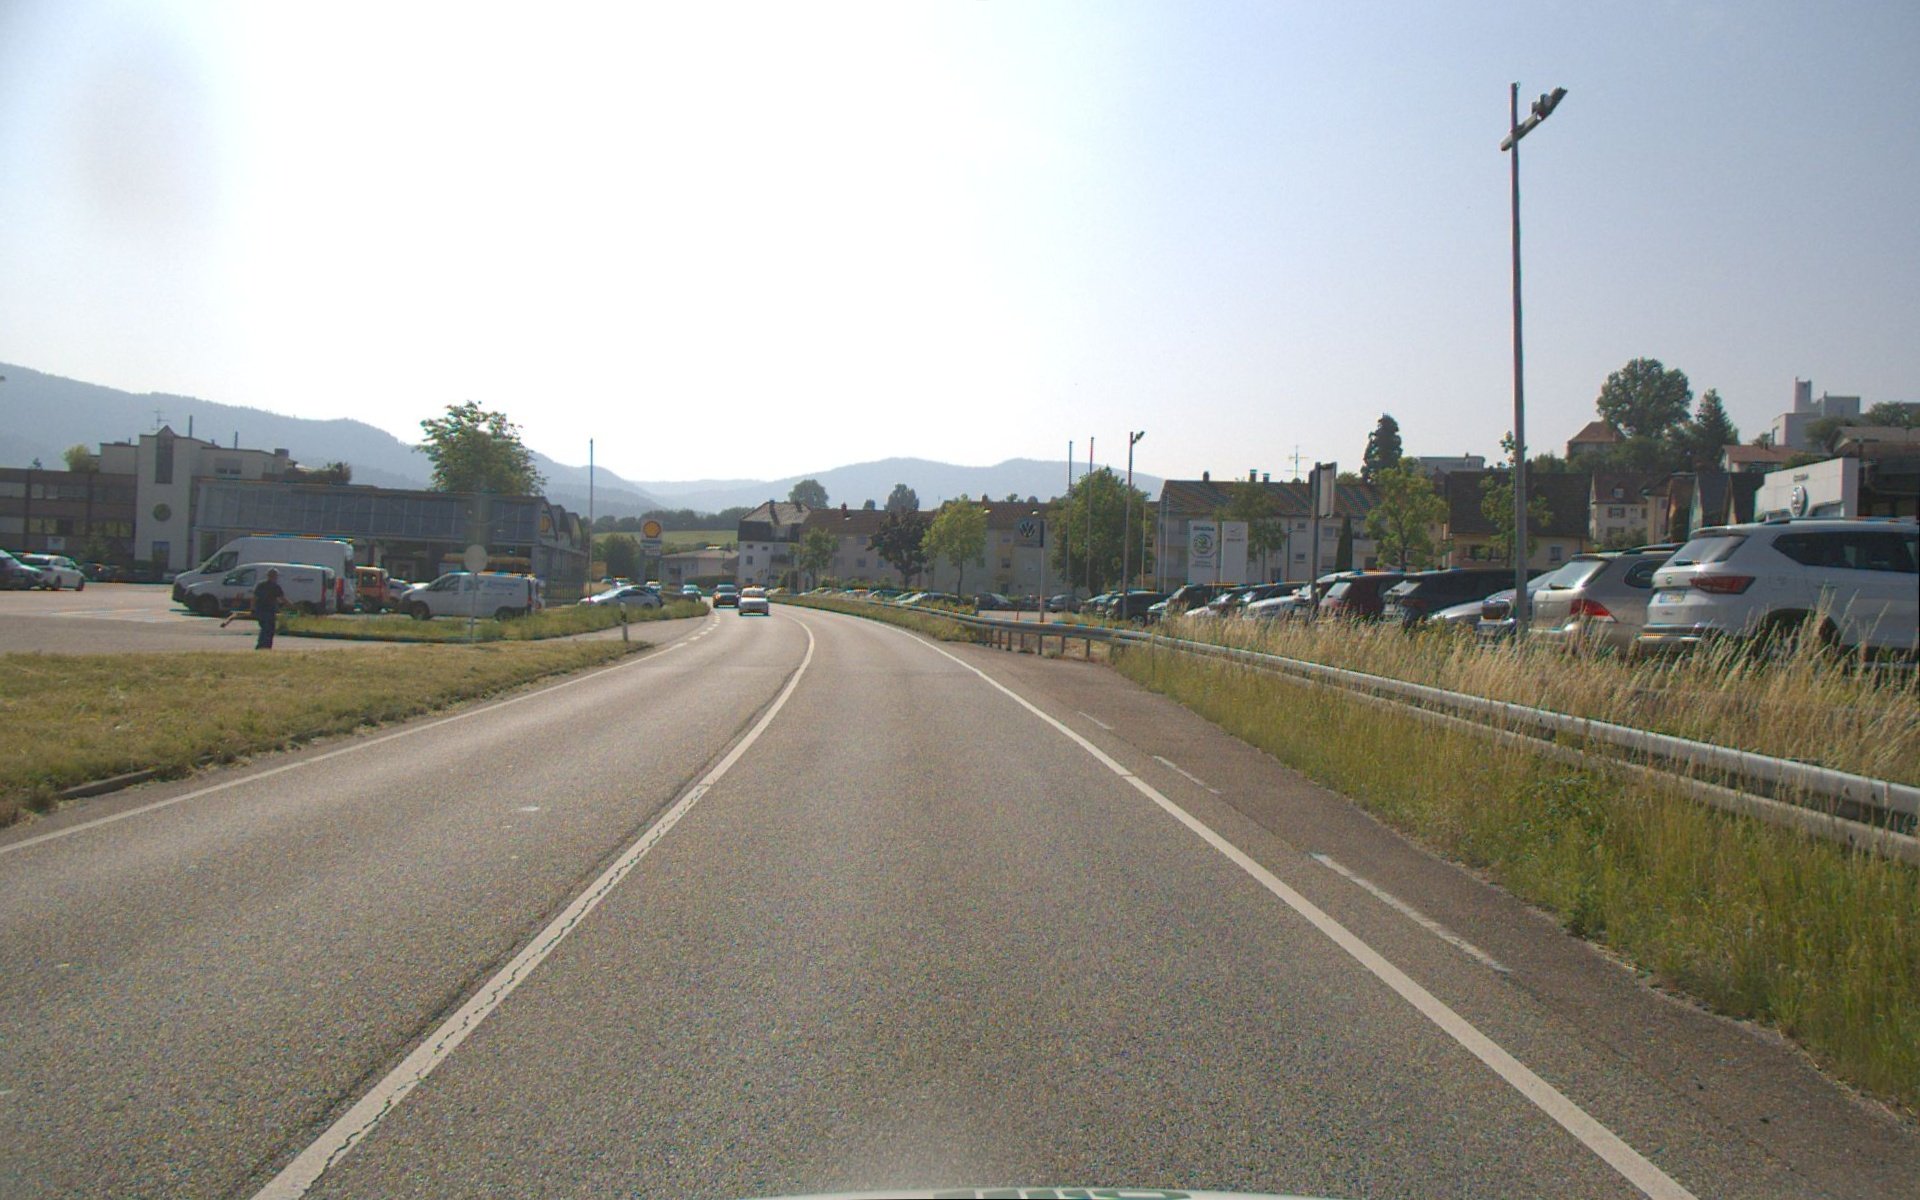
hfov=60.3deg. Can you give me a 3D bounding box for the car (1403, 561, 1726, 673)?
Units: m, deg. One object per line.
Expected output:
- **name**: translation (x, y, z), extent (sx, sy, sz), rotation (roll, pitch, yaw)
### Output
- **car**: translation (8.609, 0.236, 23.780), extent (3.908, 1.477, 1.949), rotation (1, 0, -3)

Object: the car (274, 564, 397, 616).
- **car**: translation (-25.566, -0.404, 67.831), extent (4.300, 1.839, 1.997), rotation (4, 0, -9)

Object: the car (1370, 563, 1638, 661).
- **car**: translation (8.602, 0.191, 26.354), extent (3.659, 1.453, 1.778), rotation (1, 0, -3)

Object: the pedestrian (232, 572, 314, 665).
- **pedestrian**: translation (-12.988, 0.349, 31.279), extent (0.834, 1.719, 1.139), rotation (1, -1, 38)

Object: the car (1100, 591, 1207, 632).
- **car**: translation (7.556, 0.456, 64.912), extent (3.908, 1.520, 1.729), rotation (1, 0, -4)

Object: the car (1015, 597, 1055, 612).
- **car**: translation (6.598, 0.392, 145.835), extent (1.576, 1.207, 3.617), rotation (1, 0, -35)

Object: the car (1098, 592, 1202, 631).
- **car**: translation (7.760, 0.472, 67.691), extent (3.910, 1.520, 1.788), rotation (1, 0, -6)

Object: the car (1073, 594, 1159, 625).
- **car**: translation (8.033, 0.488, 85.341), extent (4.082, 1.542, 1.820), rotation (0, 0, -11)

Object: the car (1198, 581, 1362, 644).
- **car**: translation (7.988, 0.313, 41.478), extent (3.760, 1.484, 1.745), rotation (1, 0, -2)

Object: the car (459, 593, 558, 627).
- **car**: translation (-21.449, 0.488, 78.740), extent (1.864, 1.427, 4.206), rotation (1, -1, 41)

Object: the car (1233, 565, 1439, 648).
- **car**: translation (8.034, 0.138, 35.560), extent (3.909, 1.660, 1.919), rotation (1, 0, -5)

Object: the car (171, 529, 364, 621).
- **car**: translation (-23.912, -0.831, 57.306), extent (5.612, 2.792, 2.282), rotation (3, -1, -7)

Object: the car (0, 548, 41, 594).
- **car**: translation (-41.466, -1.282, 69.199), extent (4.723, 1.886, 2.208), rotation (2, 1, -7)

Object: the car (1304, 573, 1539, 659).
- **car**: translation (8.173, 0.278, 29.497), extent (3.656, 1.431, 1.822), rotation (1, 0, -3)

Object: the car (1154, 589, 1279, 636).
- **car**: translation (8.505, 0.413, 55.061), extent (3.952, 1.512, 1.723), rotation (0, 0, 1)

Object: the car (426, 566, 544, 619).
- **car**: translation (-21.133, -0.341, 73.768), extent (4.703, 2.016, 2.224), rotation (3, 0, -9)

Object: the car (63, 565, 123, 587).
- **car**: translation (-69.809, -1.905, 133.169), extent (3.905, 1.632, 1.730), rotation (1, -2, 1)

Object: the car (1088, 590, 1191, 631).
- **car**: translation (7.584, 0.432, 70.126), extent (4.001, 1.638, 1.789), rotation (1, 0, -9)

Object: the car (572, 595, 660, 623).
- **car**: translation (-18.193, 0.480, 87.652), extent (1.820, 1.391, 4.369), rotation (1, 1, 41)

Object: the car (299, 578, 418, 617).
- **car**: translation (-25.535, -0.094, 70.322), extent (4.382, 1.423, 1.962), rotation (3, 0, -9)

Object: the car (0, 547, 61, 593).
- **car**: translation (-41.751, -1.328, 71.431), extent (4.723, 1.886, 1.950), rotation (2, 1, -7)

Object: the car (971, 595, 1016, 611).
- **car**: translation (3.029, 0.263, 150.454), extent (1.893, 1.430, 4.468), rotation (1, 0, -35)

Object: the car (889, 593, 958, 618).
- **car**: translation (-2.285, 0.365, 102.854), extent (4.084, 1.517, 1.727), rotation (0, 0, -10)

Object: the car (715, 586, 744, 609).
- **car**: translation (-16.857, -0.206, 120.970), extent (1.775, 1.658, 4.538), rotation (0, 0, -4)

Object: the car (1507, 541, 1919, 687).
- **car**: translation (8.338, 0.153, 18.349), extent (3.956, 1.533, 1.806), rotation (0, 0, 0)

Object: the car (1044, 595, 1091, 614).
- **car**: translation (8.789, 0.373, 135.335), extent (3.726, 1.548, 1.635), rotation (1, 0, -38)

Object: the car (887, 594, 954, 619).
- **car**: translation (-2.563, 0.421, 105.700), extent (4.084, 1.583, 1.767), rotation (0, 0, -10)

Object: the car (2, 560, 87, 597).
- **car**: translation (-41.216, -0.950, 74.574), extent (1.771, 1.518, 4.559), rotation (2, -1, -8)

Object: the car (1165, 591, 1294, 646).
- **car**: translation (8.499, 0.590, 52.356), extent (3.798, 1.693, 1.840), rotation (0, 0, 1)

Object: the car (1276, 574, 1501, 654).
- **car**: translation (8.466, 0.276, 32.896), extent (3.908, 1.477, 1.949), rotation (1, 0, -3)

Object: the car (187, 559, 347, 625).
- **car**: translation (-22.651, -0.255, 54.214), extent (4.363, 1.871, 1.983), rotation (4, 0, -9)

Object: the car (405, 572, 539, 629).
- **car**: translation (-18.572, 0.024, 63.146), extent (4.585, 1.890, 2.139), rotation (3, 0, -9)

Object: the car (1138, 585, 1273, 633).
- **car**: translation (8.547, 0.331, 57.762), extent (4.362, 1.628, 1.852), rotation (0, 0, -7)

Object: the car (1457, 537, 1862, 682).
- **car**: translation (8.673, 0.119, 20.772), extent (4.268, 1.668, 1.950), rotation (1, 0, -2)

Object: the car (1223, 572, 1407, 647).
- **car**: translation (8.332, 0.220, 39.036), extent (3.906, 1.660, 1.920), rotation (1, 0, -2)

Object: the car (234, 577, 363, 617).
- **car**: translation (-25.741, -0.114, 64.506), extent (4.299, 1.341, 1.796), rotation (3, 0, -9)

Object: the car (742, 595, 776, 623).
- **car**: translation (-11.335, 0.491, 92.991), extent (1.647, 1.498, 3.697), rotation (0, 0, -11)

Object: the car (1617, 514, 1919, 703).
- **car**: translation (8.471, 0.082, 15.428), extent (3.962, 1.645, 1.880), rotation (0, 0, 0)
